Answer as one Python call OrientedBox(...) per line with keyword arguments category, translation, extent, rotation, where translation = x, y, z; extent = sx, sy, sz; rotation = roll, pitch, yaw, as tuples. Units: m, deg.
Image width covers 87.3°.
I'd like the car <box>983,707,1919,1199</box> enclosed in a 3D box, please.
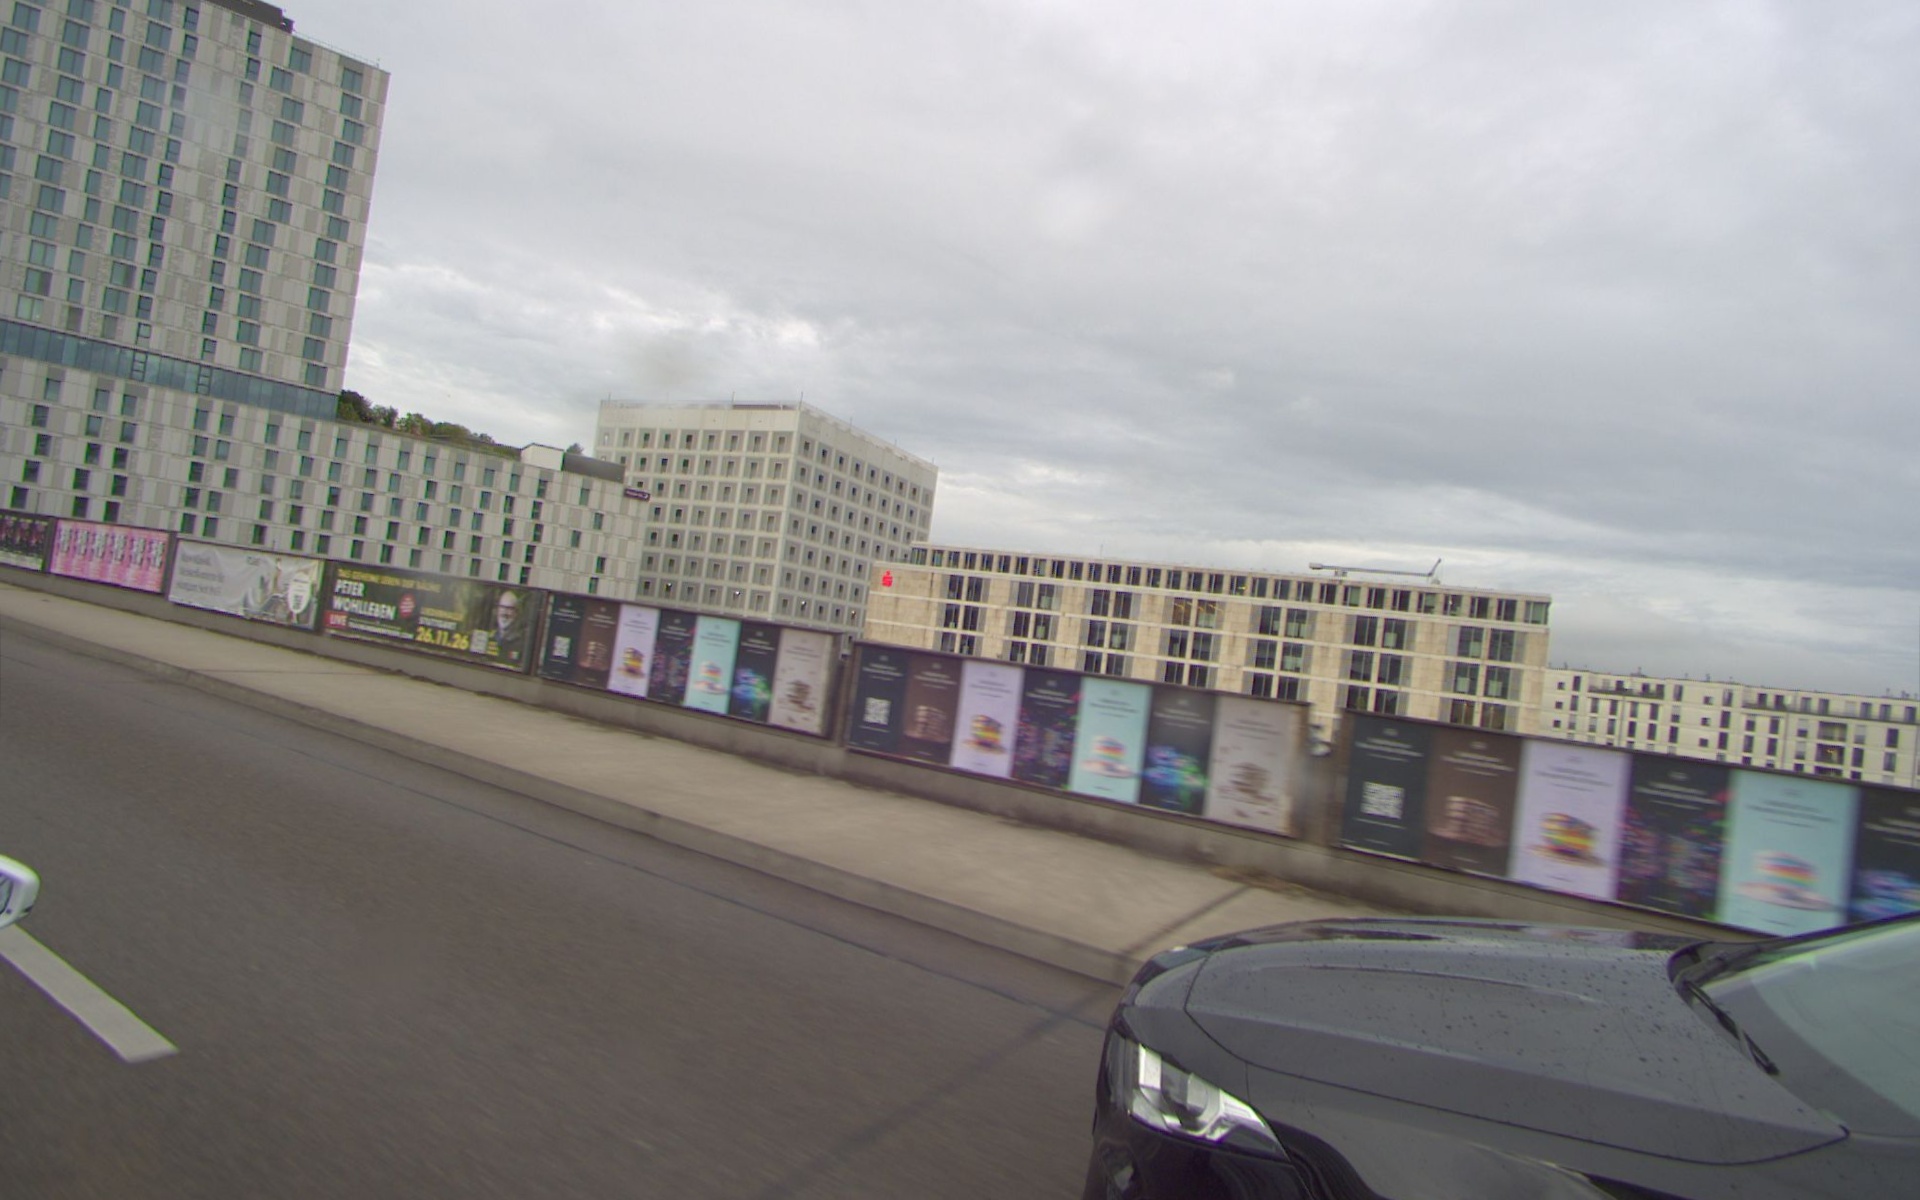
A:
OrientedBox(category="car", translation=(2.239, 1.145, 1.582), extent=(4.086, 1.392, 1.726), rotation=(5, -2, 31))
